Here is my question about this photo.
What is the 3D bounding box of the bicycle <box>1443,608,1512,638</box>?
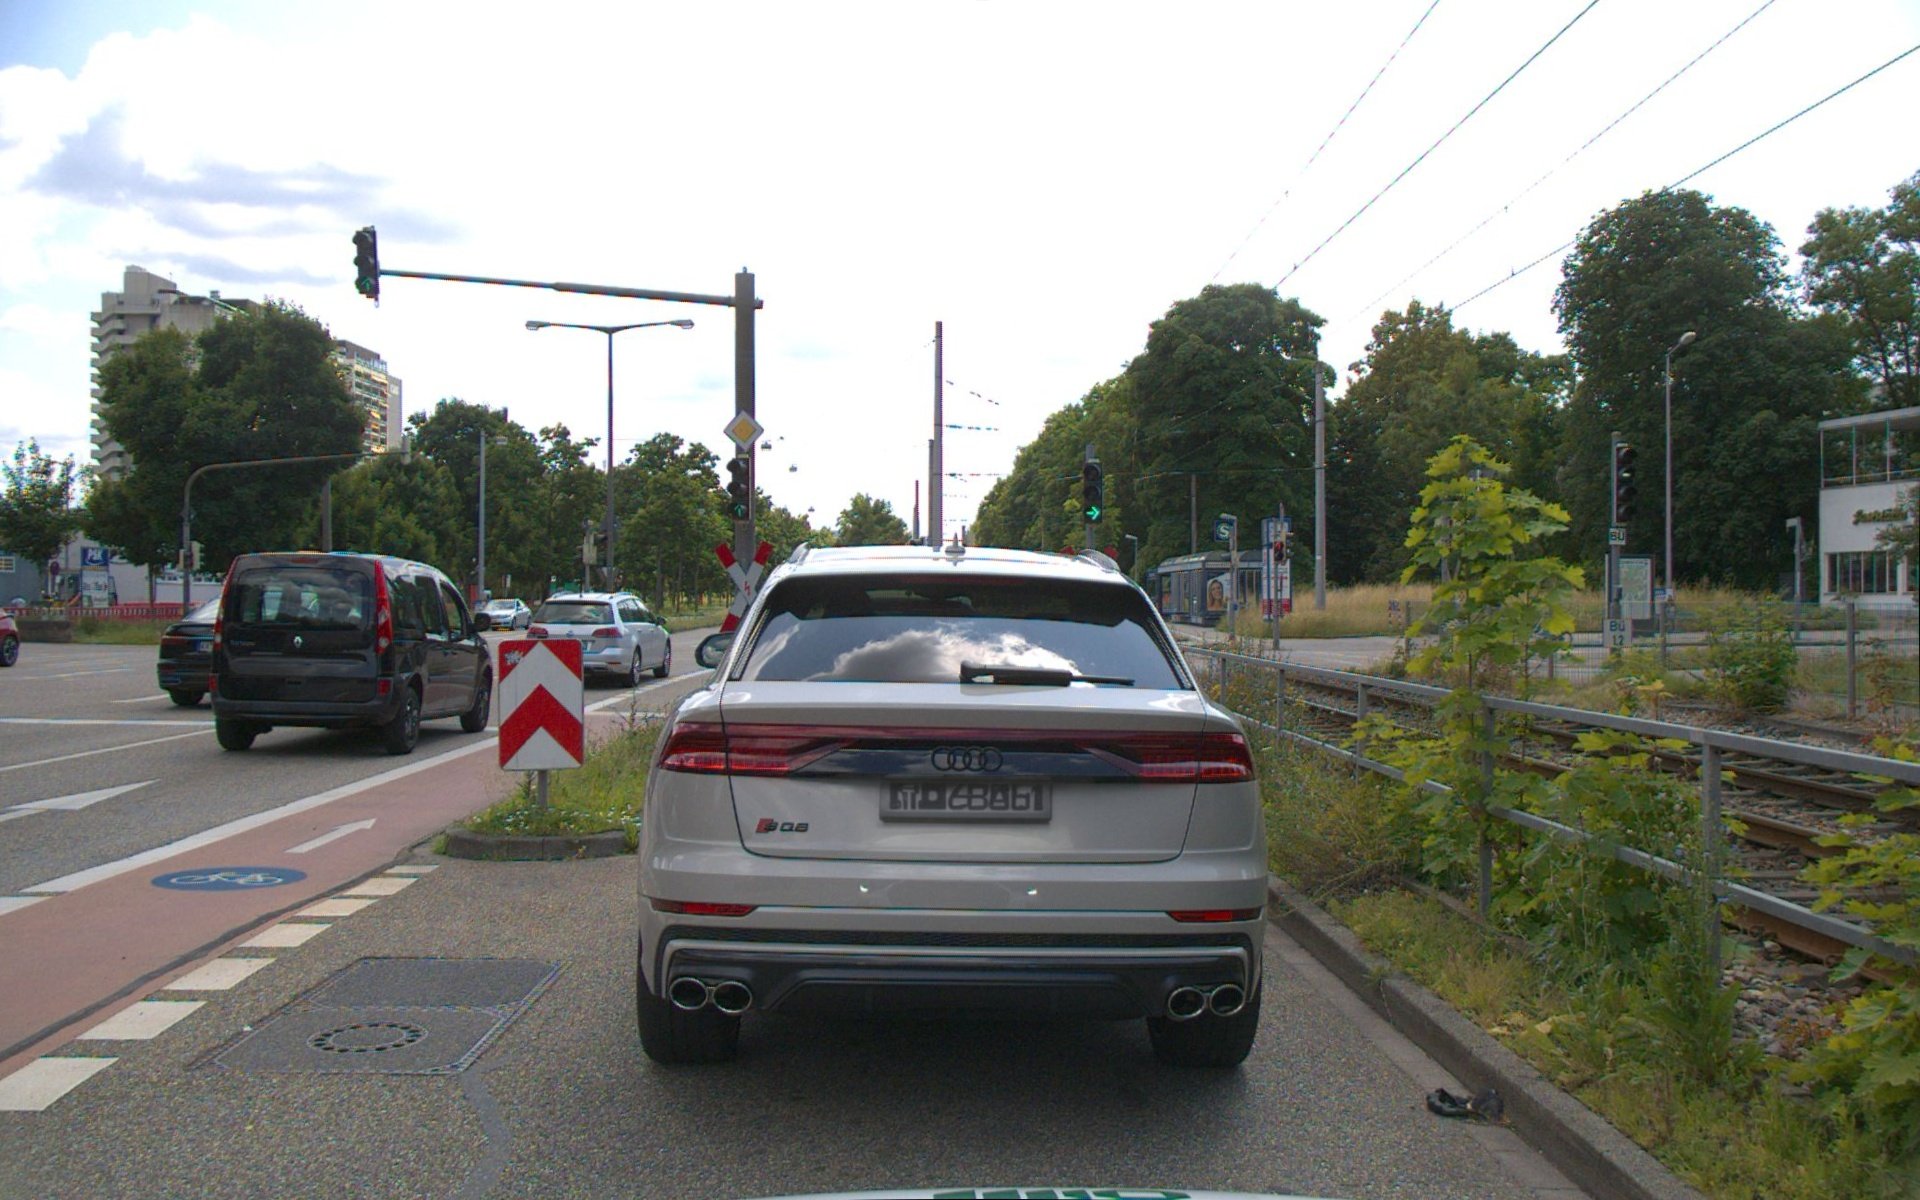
[{"bbox_3d":[13.986,0.625,44.716,1.686,0.778,0.555,1,0,1],"label":"bicycle"}]

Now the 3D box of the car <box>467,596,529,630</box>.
[{"bbox_3d":[-21.010,0.572,75.365,1.764,1.457,4.494,0,0,-3],"label":"car"}]

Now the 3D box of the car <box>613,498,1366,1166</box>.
[{"bbox_3d":[0.051,0.618,6.601,1.941,1.713,4.573,1,0,-1],"label":"car"}]

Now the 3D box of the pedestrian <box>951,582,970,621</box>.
[{"bbox_3d":[0.025,0.064,64.835,0.642,1.540,0.716,0,0,-10],"label":"pedestrian"}]

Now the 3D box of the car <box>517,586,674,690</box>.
[{"bbox_3d":[-5.935,0.588,27.408,1.750,1.552,4.299,1,0,-2],"label":"car"}]

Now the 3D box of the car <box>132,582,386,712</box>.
[{"bbox_3d":[-9.095,0.576,21.847,1.827,1.531,3.997,1,0,-4],"label":"car"}]

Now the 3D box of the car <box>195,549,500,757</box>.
[{"bbox_3d":[-5.939,0.474,16.539,1.724,1.808,3.906,1,0,-3],"label":"car"}]

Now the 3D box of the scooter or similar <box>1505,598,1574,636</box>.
[{"bbox_3d":[15.653,0.458,44.713,1.542,0.997,0.962,-1,0,1],"label":"scooter or similar"}]

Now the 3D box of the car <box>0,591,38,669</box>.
[{"bbox_3d":[-19.870,0.581,32.021,1.849,1.538,3.999,1,0,-1],"label":"car"}]

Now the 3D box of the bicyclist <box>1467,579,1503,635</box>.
[{"bbox_3d":[14.207,0.179,44.760,0.821,1.501,0.455,0,0,1],"label":"bicyclist"}]
